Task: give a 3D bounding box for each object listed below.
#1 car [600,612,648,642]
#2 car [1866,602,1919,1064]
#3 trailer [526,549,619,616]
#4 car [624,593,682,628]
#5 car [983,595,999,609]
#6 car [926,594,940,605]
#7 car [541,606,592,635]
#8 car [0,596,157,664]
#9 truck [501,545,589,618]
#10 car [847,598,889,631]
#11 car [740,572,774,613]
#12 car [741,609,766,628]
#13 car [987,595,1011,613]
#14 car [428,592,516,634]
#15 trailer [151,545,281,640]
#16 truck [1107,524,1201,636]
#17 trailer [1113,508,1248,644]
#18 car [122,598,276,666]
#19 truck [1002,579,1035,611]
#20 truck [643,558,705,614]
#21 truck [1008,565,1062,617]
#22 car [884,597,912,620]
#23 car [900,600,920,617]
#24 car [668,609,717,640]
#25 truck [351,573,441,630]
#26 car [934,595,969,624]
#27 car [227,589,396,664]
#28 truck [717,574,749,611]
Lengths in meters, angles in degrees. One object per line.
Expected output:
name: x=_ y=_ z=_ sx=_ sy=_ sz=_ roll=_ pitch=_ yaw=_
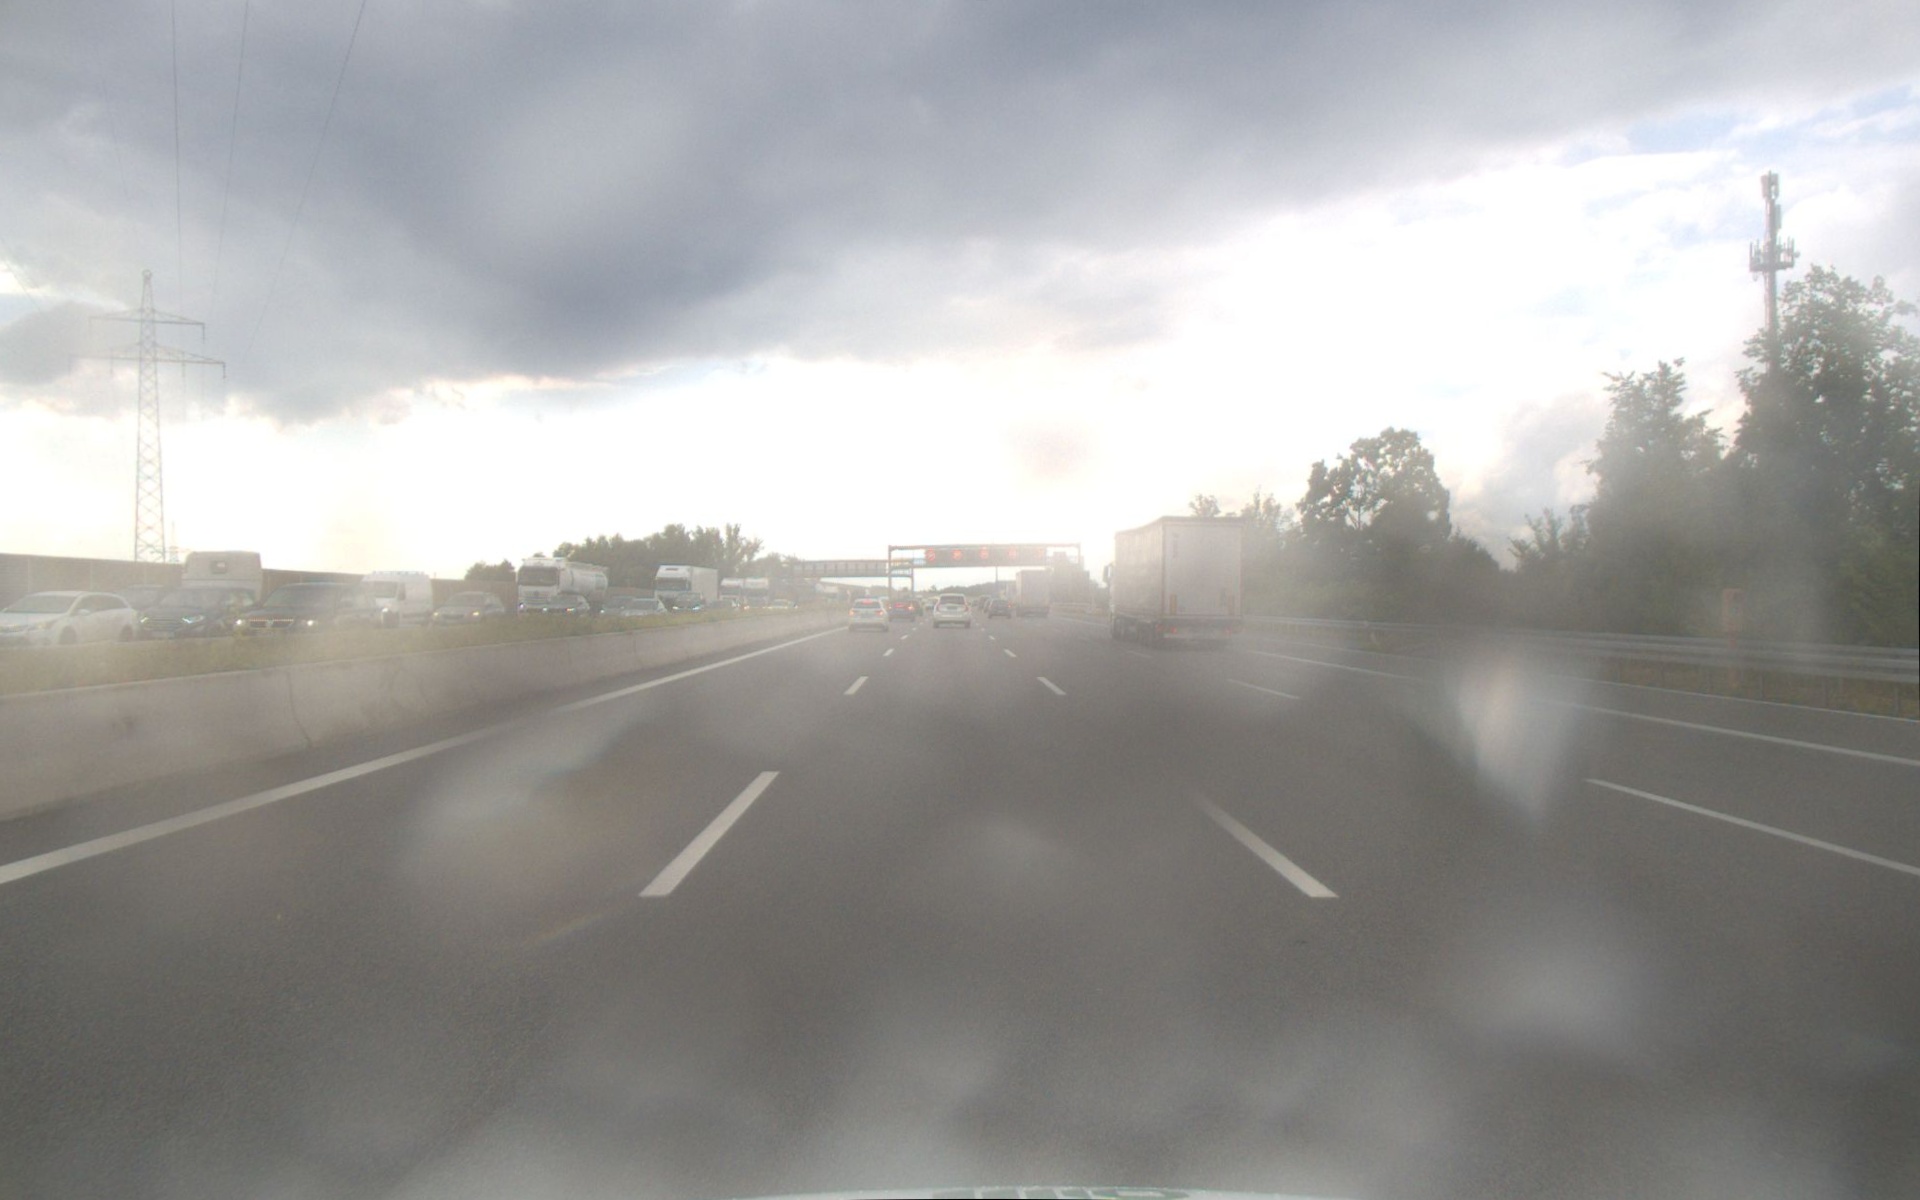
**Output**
car: x=-18.053 y=1.431 z=89.111 sx=1.751 sy=1.479 sz=4.563 roll=1 pitch=0 yaw=-2
car: x=3.795 y=0.745 z=4.001 sx=1.417 sy=1.466 sz=3.163 roll=0 pitch=0 yaw=-2
trailer: x=-26.595 y=-1.129 z=114.337 sx=3.586 sy=4.311 sz=12.465 roll=1 pitch=0 yaw=-1
car: x=-14.024 y=0.465 z=75.773 sx=1.953 sy=1.553 sz=4.738 roll=0 pitch=0 yaw=-2
car: x=3.471 y=0.227 z=186.360 sx=1.798 sy=1.466 sz=4.055 roll=0 pitch=0 yaw=0
car: x=-3.470 y=-0.076 z=216.105 sx=1.736 sy=1.466 sz=4.055 roll=0 pitch=0 yaw=0
car: x=-21.463 y=1.091 z=90.321 sx=1.751 sy=1.495 sz=4.563 roll=1 pitch=0 yaw=-2
car: x=-20.902 y=0.656 z=38.867 sx=1.730 sy=1.479 sz=4.941 roll=1 pitch=0 yaw=-2
truck: x=-26.484 y=-1.137 z=105.995 sx=3.586 sy=4.394 sz=8.236 roll=1 pitch=0 yaw=-1
car: x=-4.138 y=0.642 z=74.871 sx=1.736 sy=1.466 sz=3.873 roll=0 pitch=0 yaw=-1
car: x=-21.862 y=-0.792 z=178.621 sx=2.922 sy=4.222 sz=6.041 roll=1 pitch=0 yaw=-1
car: x=-18.294 y=1.613 z=146.616 sx=1.751 sy=1.589 sz=4.563 roll=1 pitch=0 yaw=-2
car: x=3.074 y=0.305 z=131.697 sx=1.798 sy=1.466 sz=4.055 roll=0 pitch=0 yaw=0
car: x=-18.103 y=0.464 z=61.601 sx=1.925 sy=1.479 sz=4.941 roll=1 pitch=0 yaw=-2
trailer: x=-24.822 y=-0.241 z=55.393 sx=2.202 sy=3.014 sz=4.899 roll=1 pitch=0 yaw=-2
truck: x=7.388 y=-0.738 z=63.755 sx=2.900 sy=4.090 sz=6.589 roll=0 pitch=0 yaw=1
trailer: x=7.313 y=-0.746 z=56.961 sx=2.900 sy=4.090 sz=14.119 roll=0 pitch=0 yaw=1
car: x=-17.751 y=0.709 z=38.786 sx=1.730 sy=1.479 sz=4.232 roll=1 pitch=0 yaw=-2
truck: x=8.096 y=-0.664 z=229.049 sx=4.157 sy=4.249 sz=11.989 roll=1 pitch=0 yaw=0
truck: x=-21.929 y=-1.068 z=127.182 sx=3.585 sy=4.118 sz=6.524 roll=1 pitch=0 yaw=0
truck: x=6.680 y=-0.788 z=149.803 sx=4.095 sy=4.363 sz=12.610 roll=1 pitch=0 yaw=-1
car: x=-4.087 y=0.566 z=109.540 sx=1.736 sy=1.466 sz=4.054 roll=0 pitch=0 yaw=-2
car: x=-4.385 y=0.708 z=145.858 sx=1.737 sy=1.466 sz=4.054 roll=0 pitch=0 yaw=-2
car: x=-18.279 y=1.630 z=113.381 sx=2.233 sy=2.002 sz=6.087 roll=1 pitch=0 yaw=1
truck: x=-25.733 y=0.071 z=75.703 sx=2.059 sy=2.494 sz=6.262 roll=1 pitch=0 yaw=-1
car: x=-0.449 y=0.477 z=86.718 sx=1.736 sy=1.466 sz=4.054 roll=0 pitch=0 yaw=-2
car: x=-13.852 y=0.531 z=35.666 sx=1.790 sy=1.479 sz=4.941 roll=1 pitch=0 yaw=-2
truck: x=-26.083 y=-0.819 z=190.419 sx=2.841 sy=4.188 sz=6.621 roll=1 pitch=0 yaw=-1
